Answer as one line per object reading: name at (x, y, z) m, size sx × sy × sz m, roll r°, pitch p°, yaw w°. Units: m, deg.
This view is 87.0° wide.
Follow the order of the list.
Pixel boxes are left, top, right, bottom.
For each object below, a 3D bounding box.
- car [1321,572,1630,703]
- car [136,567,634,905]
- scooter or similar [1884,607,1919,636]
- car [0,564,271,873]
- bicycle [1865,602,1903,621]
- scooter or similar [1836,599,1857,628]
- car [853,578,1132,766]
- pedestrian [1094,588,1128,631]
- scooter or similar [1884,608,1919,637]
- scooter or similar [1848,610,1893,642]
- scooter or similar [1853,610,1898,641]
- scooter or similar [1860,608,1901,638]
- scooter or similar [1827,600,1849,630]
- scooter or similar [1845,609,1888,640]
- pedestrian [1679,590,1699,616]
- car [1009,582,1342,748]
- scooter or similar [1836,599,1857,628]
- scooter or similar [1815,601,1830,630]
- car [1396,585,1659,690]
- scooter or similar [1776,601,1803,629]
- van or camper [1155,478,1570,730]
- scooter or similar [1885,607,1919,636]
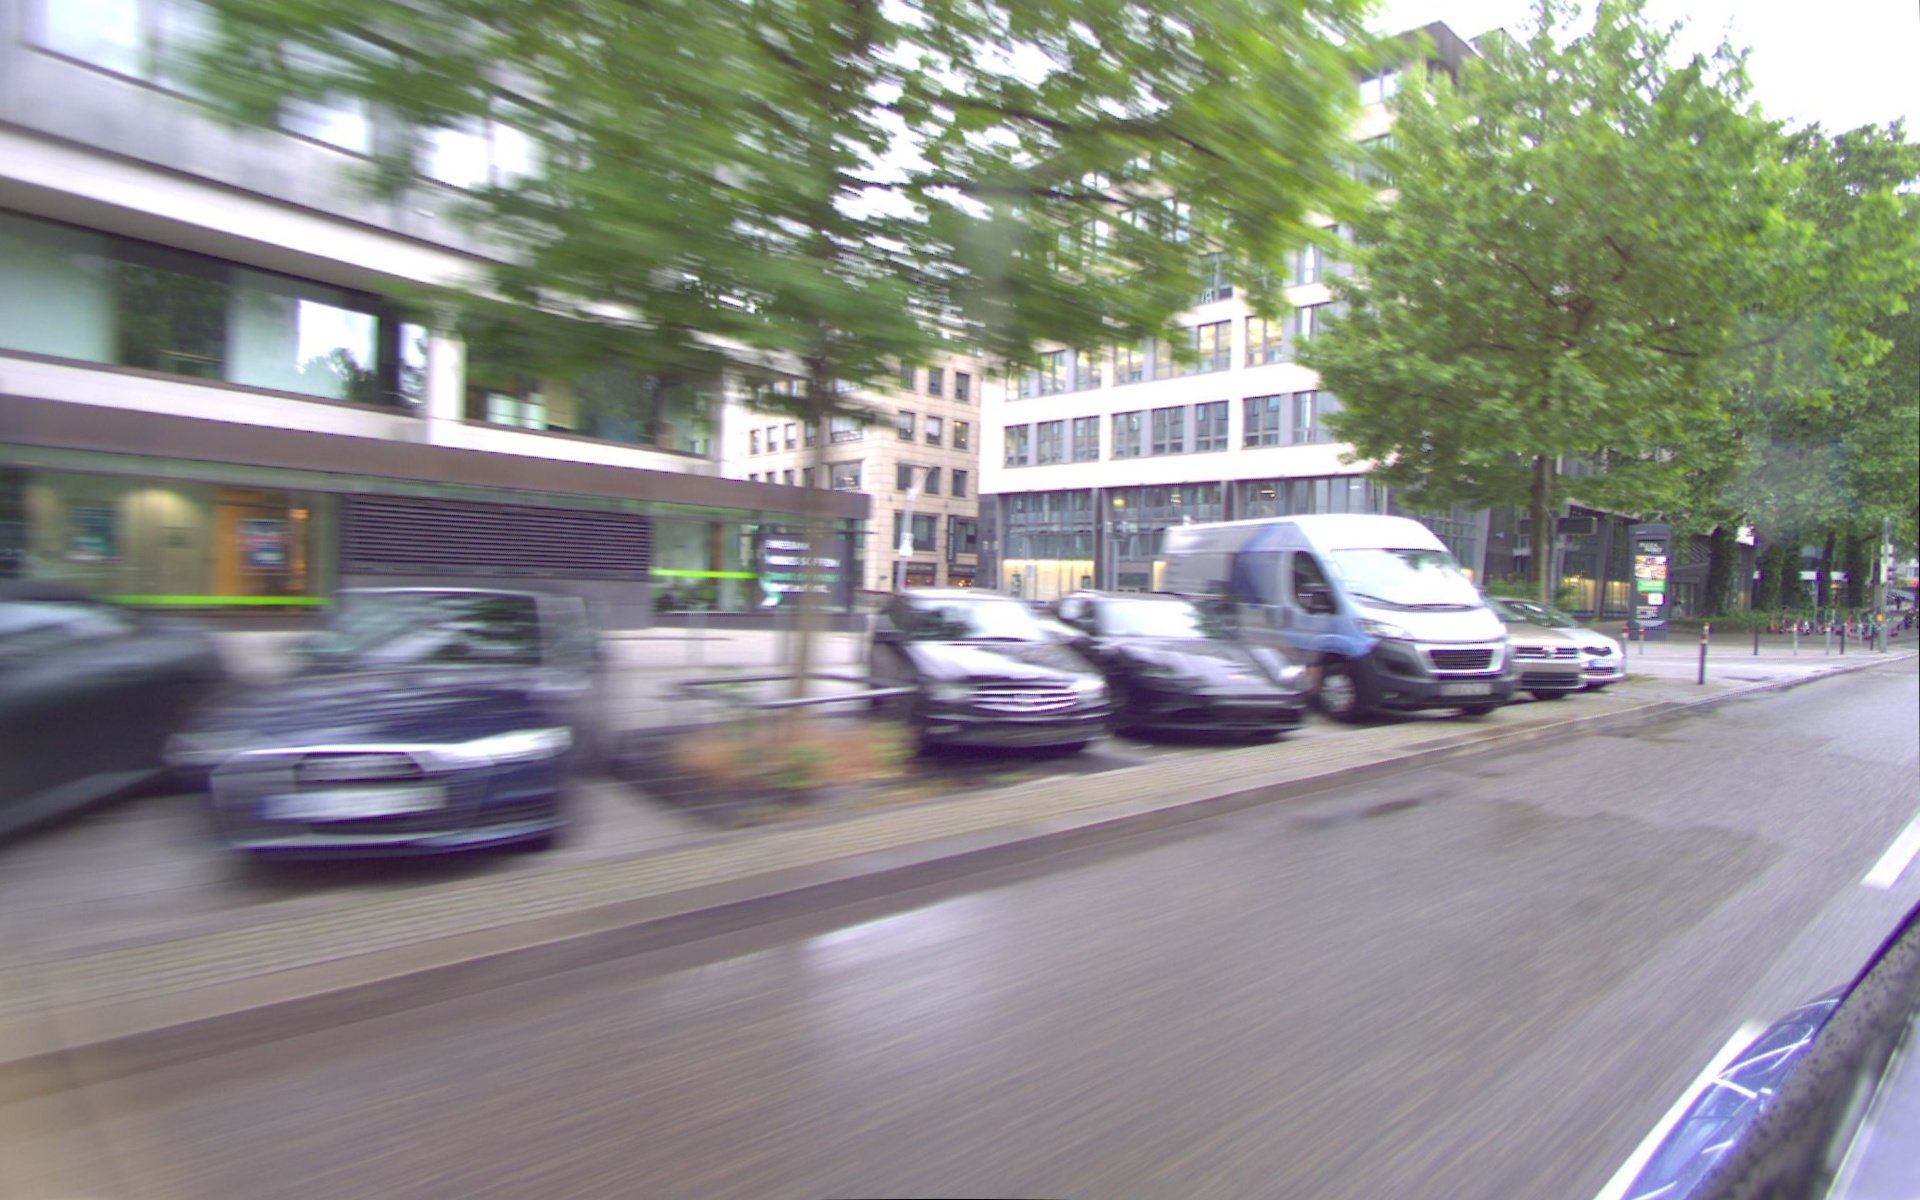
car at (7.505, 0.461, 15.291) m, size 1.780 × 1.688 × 4.279 m, roll 0°, pitch 0°, yaw -14°
car at (-3.224, 0.540, 6.682) m, size 1.725 × 1.454 × 4.388 m, roll 0°, pitch 1°, yaw -14°
scooter or similar at (44.855, 1.036, 48.079) m, size 0.527 × 1.294 × 1.294 m, roll 2°, pitch 1°, yaw -35°
car at (-5.422, 0.547, 4.888) m, size 1.809 × 1.411 × 4.648 m, roll 0°, pitch 2°, yaw -11°
bicycle at (50.748, 0.637, 55.587) m, size 1.727 × 1.041 × 0.640 m, roll 0°, pitch 0°, yaw -11°
scooter or similar at (40.489, 0.640, 46.196) m, size 1.270 × 1.275 × 0.489 m, roll 2°, pitch 1°, yaw -40°
car at (0.069, 0.517, 10.075) m, size 1.684 × 1.454 × 4.222 m, roll 0°, pitch 1°, yaw -14°
pedestrian at (6.182, 0.368, 41.524) m, size 0.793 × 1.718 × 1.187 m, roll 0°, pitch 0°, yaw -37°
scooter or similar at (44.387, 1.047, 47.589) m, size 1.288 × 1.294 × 0.529 m, roll 3°, pitch 1°, yaw 40°
scooter or similar at (39.047, 1.104, 43.402) m, size 0.479 × 1.275 × 1.296 m, roll 2°, pitch 1°, yaw -28°
scooter or similar at (39.555, 1.094, 43.729) m, size 0.479 × 1.275 × 1.296 m, roll 2°, pitch 1°, yaw -28°
scooter or similar at (41.942, 1.046, 46.117) m, size 0.480 × 1.251 × 1.293 m, roll 2°, pitch 1°, yaw -37°
scooter or similar at (38.330, 0.666, 44.157) m, size 1.270 × 1.275 × 0.489 m, roll 2°, pitch 1°, yaw -40°
scooter or similar at (39.721, 1.083, 44.359) m, size 0.479 × 1.275 × 1.296 m, roll 2°, pitch 1°, yaw -28°
pedestrian at (50.054, 0.211, 69.492) m, size 0.813 × 1.714 × 0.729 m, roll 2°, pitch 1°, yaw 3°
car at (2.100, 0.538, 11.346) m, size 1.900 × 1.454 × 4.411 m, roll 0°, pitch 1°, yaw -14°
scooter or similar at (40.489, 0.640, 46.196) m, size 1.270 × 1.275 × 0.489 m, roll 2°, pitch 1°, yaw -40°
scooter or similar at (37.433, 0.677, 43.932) m, size 0.487 × 1.212 × 1.275 m, roll 1°, pitch 1°, yaw 41°
car at (9.440, 0.545, 17.162) m, size 1.679 × 1.566 × 3.668 m, roll 0°, pitch 0°, yaw -20°
scooter or similar at (36.867, 0.666, 44.989) m, size 0.483 × 1.212 × 1.285 m, roll 0°, pitch 1°, yaw 19°
van or camper at (4.850, -0.017, 13.618) m, size 2.060 × 2.590 × 6.098 m, roll 0°, pitch 1°, yaw -13°
scooter or similar at (45.179, 1.029, 48.373) m, size 0.527 × 1.294 × 1.294 m, roll 2°, pitch 1°, yaw -35°
